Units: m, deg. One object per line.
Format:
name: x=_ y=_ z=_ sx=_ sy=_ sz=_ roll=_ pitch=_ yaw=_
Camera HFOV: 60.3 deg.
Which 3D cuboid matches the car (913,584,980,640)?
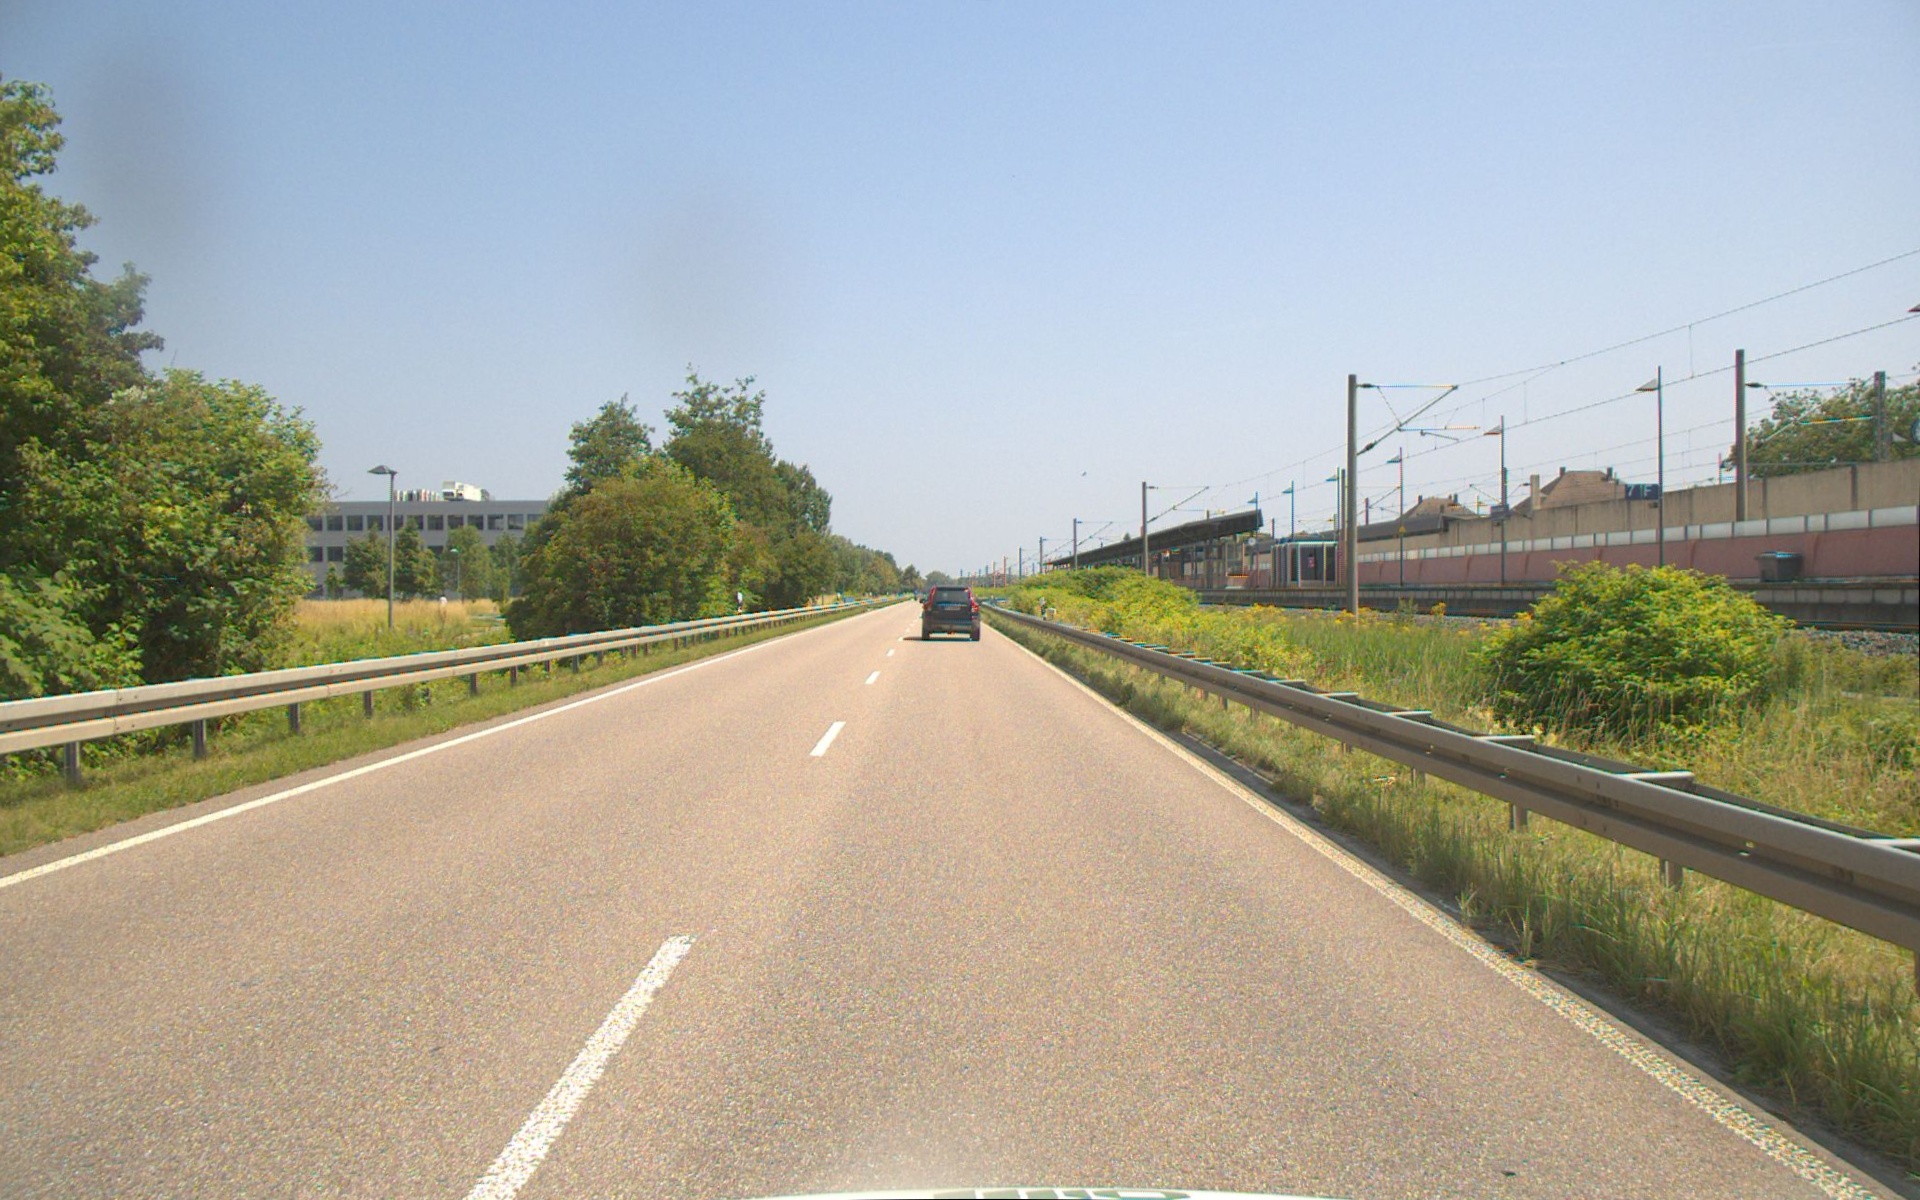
car: x=-0.466 y=0.366 z=53.160 sx=1.954 sy=1.730 sz=3.997 roll=0 pitch=0 yaw=-3
